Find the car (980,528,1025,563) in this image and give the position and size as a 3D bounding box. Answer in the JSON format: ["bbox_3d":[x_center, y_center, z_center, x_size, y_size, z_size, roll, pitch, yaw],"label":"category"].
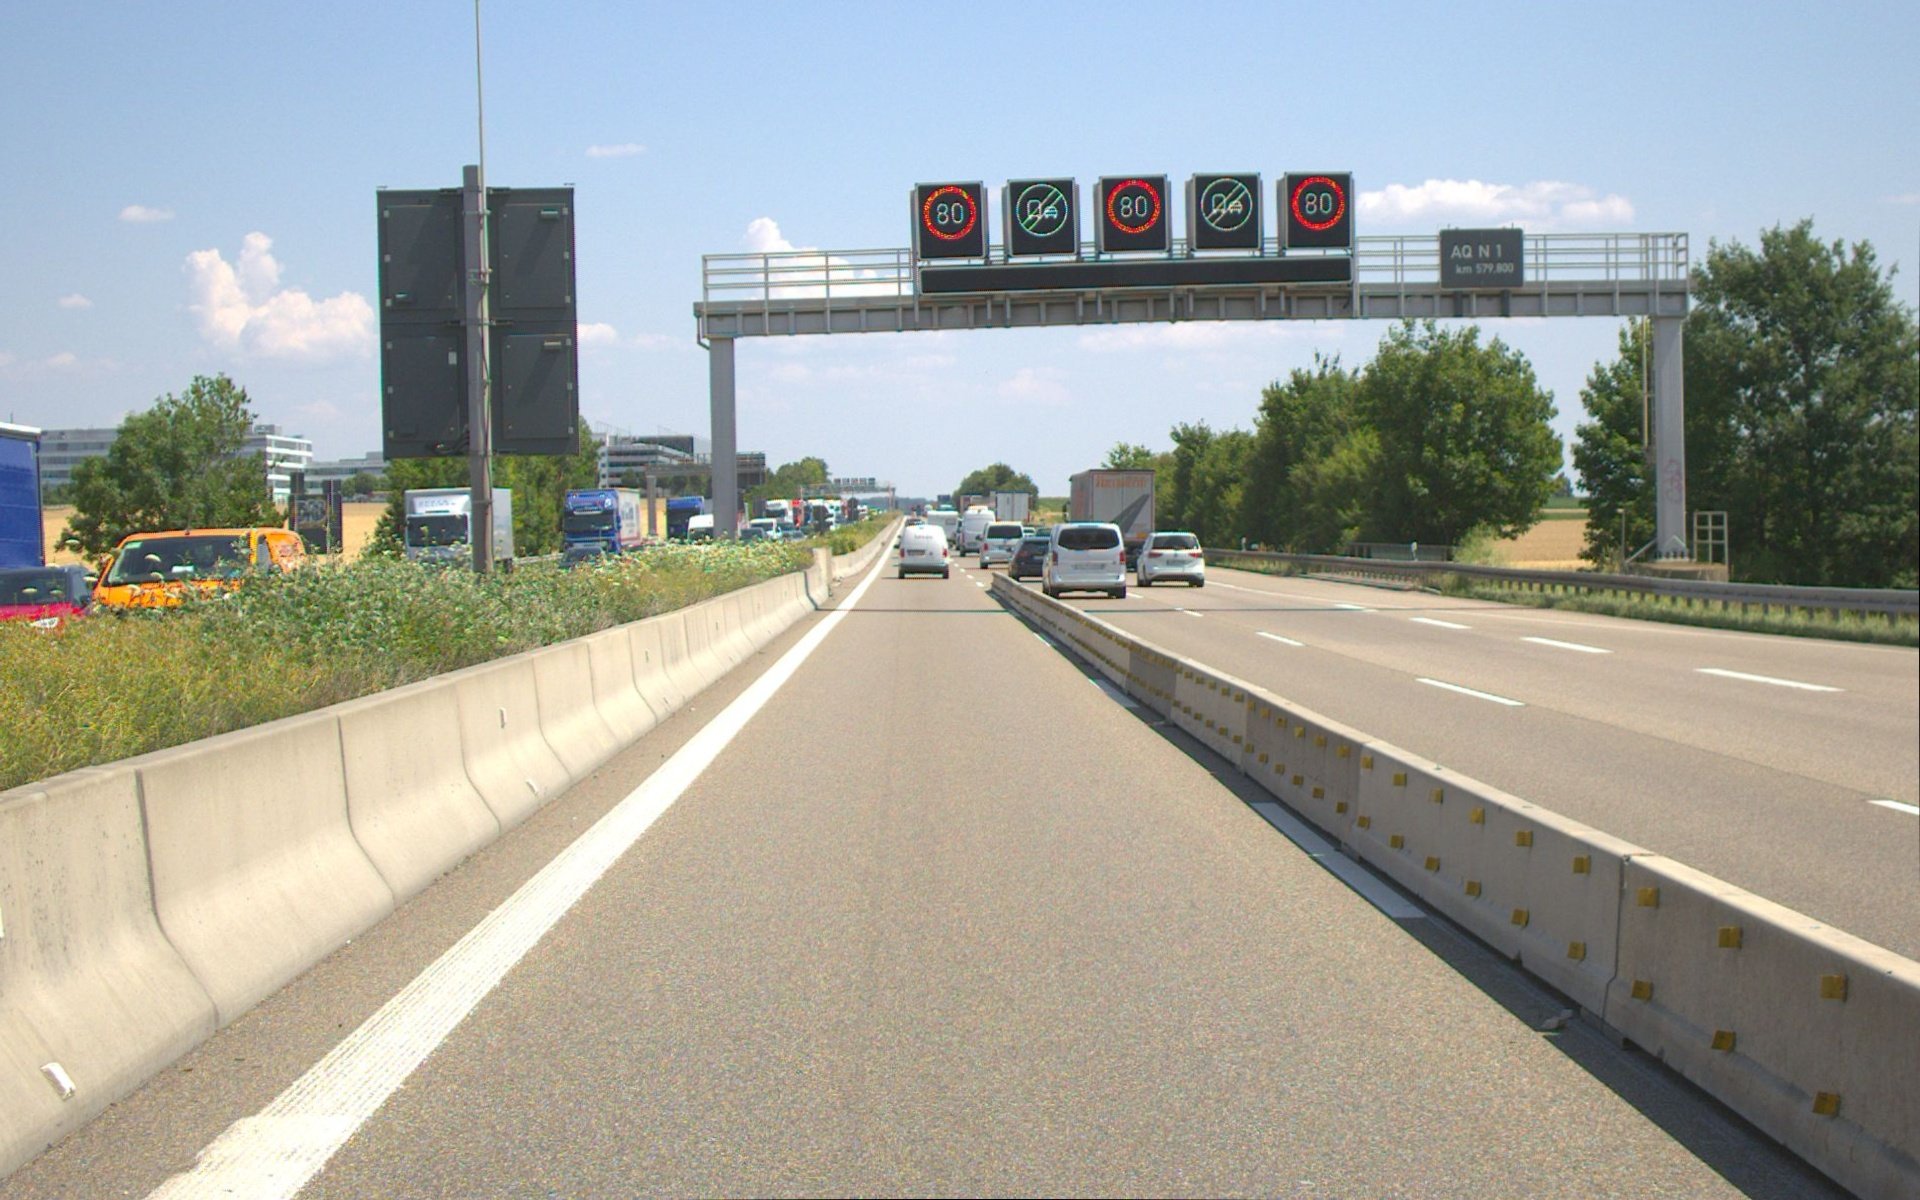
[{"bbox_3d":[1.797,-2.326,146.143,1.773,1.442,4.000,0,0,-1],"label":"car"}]

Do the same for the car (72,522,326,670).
[{"bbox_3d":[-8.618,-0.098,39.340,1.894,1.573,4.937,0,1,-1],"label":"car"}]

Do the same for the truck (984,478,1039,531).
[{"bbox_3d":[3.934,-7.290,263.660,3.815,3.891,9.581,-1,1,-1],"label":"truck"}]

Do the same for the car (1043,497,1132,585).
[{"bbox_3d":[3.143,-1.447,85.383,1.993,2.112,4.000,0,0,-1],"label":"car"}]

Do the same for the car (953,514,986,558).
[{"bbox_3d":[0.509,-3.572,191.335,1.773,2.384,4.000,0,0,-1],"label":"car"}]

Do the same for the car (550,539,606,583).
[{"bbox_3d":[-13.044,-1.340,117.503,1.559,1.437,3.838,-1,1,-2],"label":"car"}]

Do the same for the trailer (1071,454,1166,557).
[{"bbox_3d":[6.351,-3.757,138.915,3.277,3.953,9.113,0,0,-1],"label":"trailer"}]

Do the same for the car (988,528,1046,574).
[{"bbox_3d":[1.833,-1.582,111.689,1.773,1.442,4.000,0,0,-1],"label":"car"}]

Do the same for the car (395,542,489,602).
[{"bbox_3d":[-12.733,-0.707,84.759,1.832,1.319,4.281,-2,2,-3],"label":"car"}]

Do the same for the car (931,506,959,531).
[{"bbox_3d":[-1.128,-6.089,256.885,1.993,1.829,4.000,0,1,-1],"label":"car"}]

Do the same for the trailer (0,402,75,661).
[{"bbox_3d":[-16.237,-1.003,51.308,2.386,4.072,14.098,-1,1,0],"label":"trailer"}]

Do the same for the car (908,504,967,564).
[{"bbox_3d":[-0.787,-2.263,119.042,1.993,2.007,4.000,0,0,-1],"label":"car"}]

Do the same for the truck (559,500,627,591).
[{"bbox_3d":[-17.765,-2.660,166.697,2.592,4.224,4.855,-3,1,-1],"label":"truck"}]

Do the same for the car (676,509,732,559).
[{"bbox_3d":[-10.397,-2.679,140.042,1.993,1.939,4.795,-1,1,-1],"label":"car"}]

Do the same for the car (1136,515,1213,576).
[{"bbox_3d":[6.376,-1.611,102.486,1.993,1.788,4.000,0,0,-1],"label":"car"}]

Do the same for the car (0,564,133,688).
[{"bbox_3d":[-12.239,0.313,45.438,1.588,1.503,4.229,-1,1,0],"label":"car"}]

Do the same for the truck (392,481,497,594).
[{"bbox_3d":[-17.025,-2.082,113.718,2.698,3.575,4.000,-2,1,0],"label":"truck"}]
